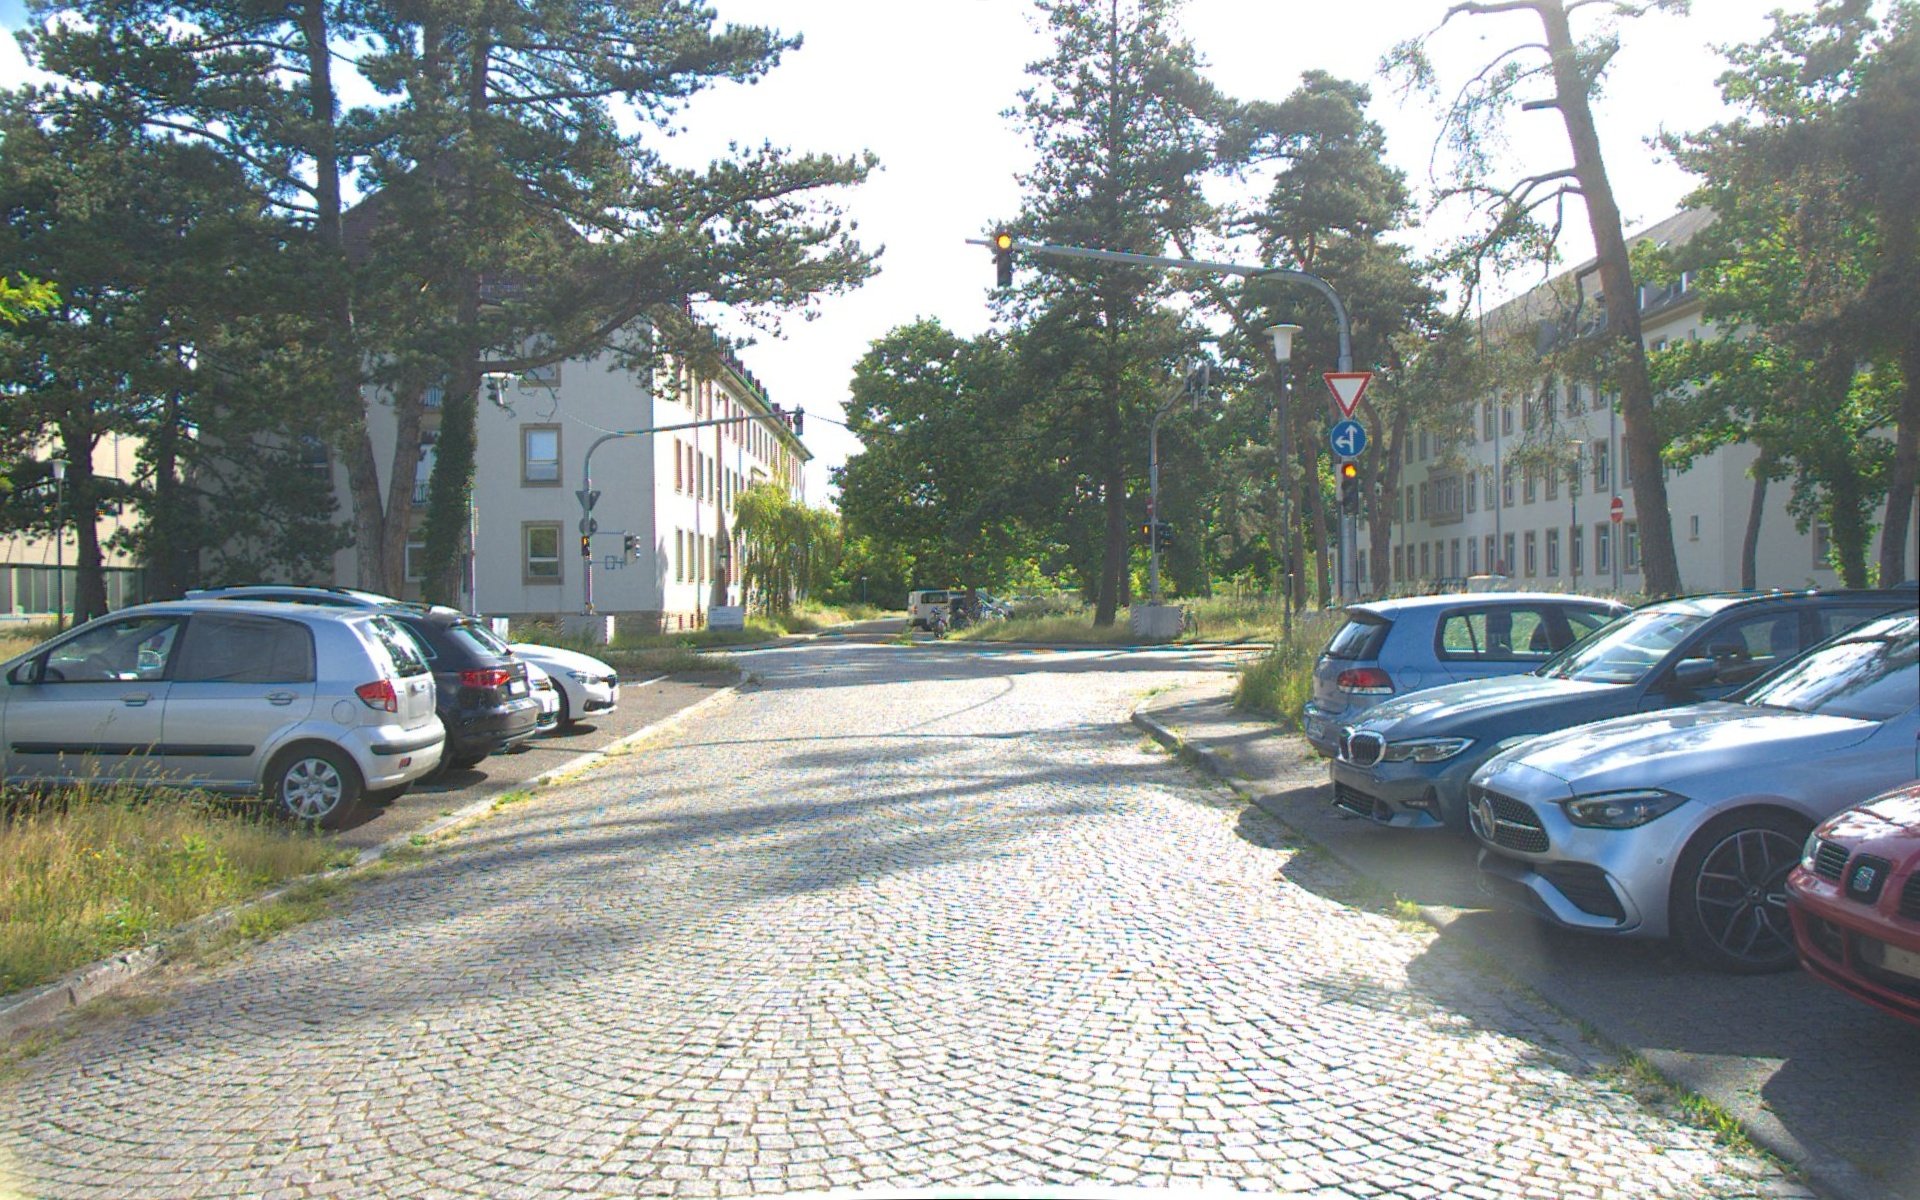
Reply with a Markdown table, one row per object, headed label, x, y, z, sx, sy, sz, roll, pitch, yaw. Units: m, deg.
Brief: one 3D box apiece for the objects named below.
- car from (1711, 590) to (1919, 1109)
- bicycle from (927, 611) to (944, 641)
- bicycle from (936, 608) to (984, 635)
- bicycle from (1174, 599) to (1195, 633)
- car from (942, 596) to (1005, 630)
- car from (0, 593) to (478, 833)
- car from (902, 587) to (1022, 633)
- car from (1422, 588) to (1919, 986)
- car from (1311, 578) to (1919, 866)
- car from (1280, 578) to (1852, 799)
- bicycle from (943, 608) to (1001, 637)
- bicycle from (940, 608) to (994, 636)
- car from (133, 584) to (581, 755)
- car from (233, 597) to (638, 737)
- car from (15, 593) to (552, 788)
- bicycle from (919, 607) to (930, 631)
| label | x | y | z | sx | sy | sz | roll | pitch | yaw |
| --- | --- | --- | --- | --- | --- | --- | --- | --- | --- |
| car | 4.786 | 0.655 | 5.234 | 4.043 | 1.474 | 1.636 | -2 | 0 | 0 |
| bicycle | -0.865 | 0.902 | 57.885 | 0.458 | 1.028 | 1.584 | 1 | -1 | -4 |
| bicycle | 0.000 | 0.843 | 65.122 | 1.803 | 1.028 | 0.635 | 1 | -1 | -8 |
| bicycle | 6.743 | 0.481 | 49.659 | 0.294 | 0.977 | 1.584 | 1 | -1 | -4 |
| car | 0.589 | 0.601 | 76.138 | 2.727 | 1.492 | 1.669 | 1 | -1 | -5 |
| car | -5.503 | 0.750 | 11.749 | 3.672 | 1.513 | 1.645 | 1 | 0 | -4 |
| car | 0.114 | 0.485 | 79.718 | 5.437 | 2.049 | 1.989 | 1 | -1 | -19 |
| car | 4.491 | 0.685 | 7.357 | 4.341 | 1.440 | 1.781 | -2 | 0 | 0 |
| car | 4.568 | 0.663 | 10.074 | 4.466 | 1.440 | 1.636 | -2 | 0 | 0 |
| car | 4.562 | 0.633 | 12.836 | 3.803 | 1.440 | 1.636 | -2 | 0 | 0 |
| bicycle | 0.455 | 0.822 | 61.660 | 2.070 | 1.028 | 0.620 | 1 | -1 | -8 |
| bicycle | 0.270 | 0.833 | 63.370 | 1.967 | 1.028 | 0.631 | 1 | -1 | -8 |
| car | -6.173 | 0.685 | 17.333 | 3.999 | 1.621 | 1.884 | 1 | 0 | -4 |
| car | -6.119 | 0.764 | 19.706 | 4.248 | 1.494 | 1.829 | 1 | 0 | -4 |
| car | -5.712 | 0.739 | 14.379 | 3.908 | 1.506 | 1.802 | 1 | 0 | -4 |
| bicycle | -1.531 | 0.828 | 71.386 | 0.409 | 1.028 | 1.483 | 1 | -1 | 0 |
